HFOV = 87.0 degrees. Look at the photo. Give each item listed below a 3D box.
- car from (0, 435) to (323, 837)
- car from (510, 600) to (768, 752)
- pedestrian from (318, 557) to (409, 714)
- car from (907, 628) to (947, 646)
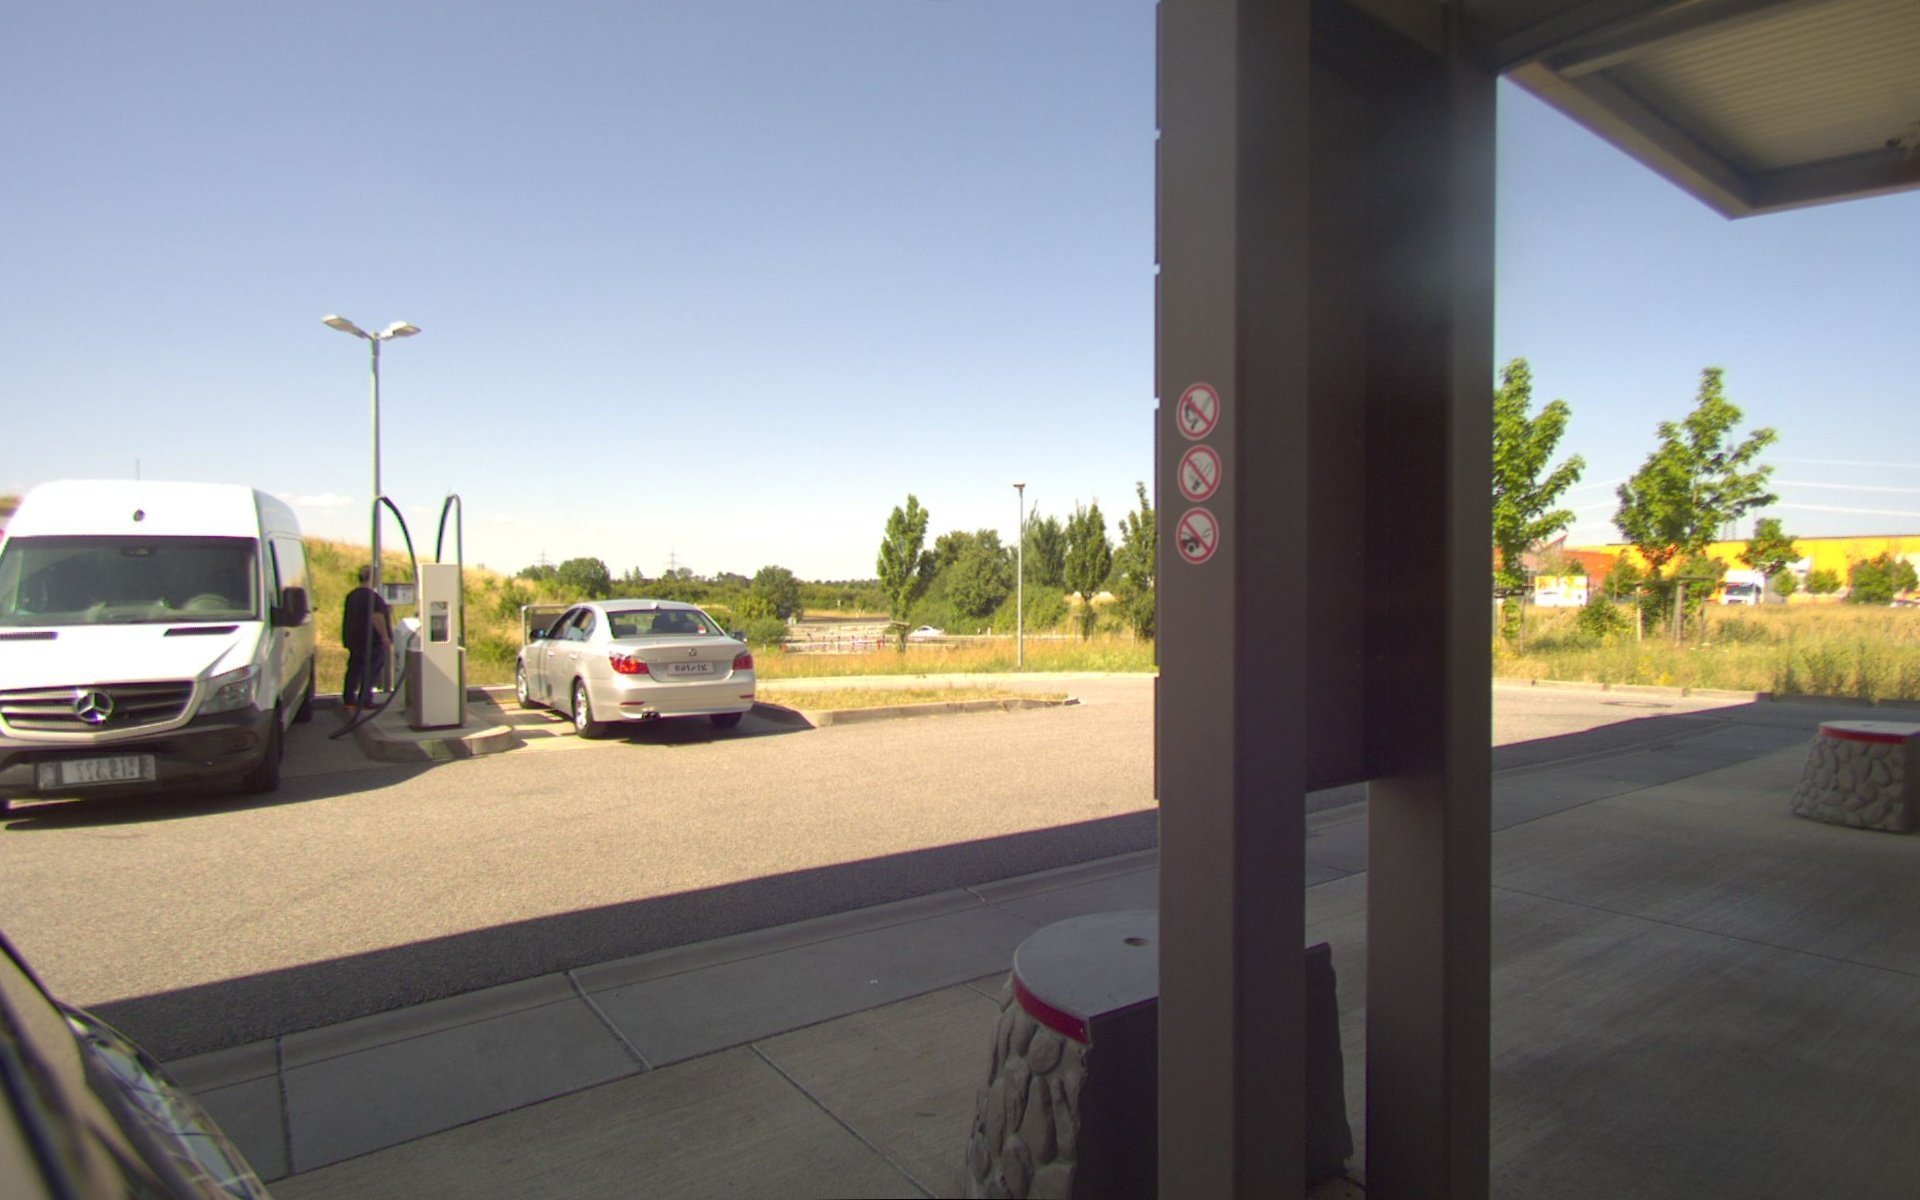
[{"bbox_3d":[-7.531,0.144,9.809,1.966,2.590,7.053,0,1,-29],"label":"car"},{"bbox_3d":[-4.021,0.746,12.161,1.763,1.439,4.333,0,1,-35],"label":"car"},{"bbox_3d":[-7.025,0.403,11.953,0.697,1.783,0.847,0,-1,-13],"label":"pedestrian"},{"bbox_3d":[-3.081,3.400,94.007,1.865,1.530,4.010,0,-1,-35],"label":"car"}]
